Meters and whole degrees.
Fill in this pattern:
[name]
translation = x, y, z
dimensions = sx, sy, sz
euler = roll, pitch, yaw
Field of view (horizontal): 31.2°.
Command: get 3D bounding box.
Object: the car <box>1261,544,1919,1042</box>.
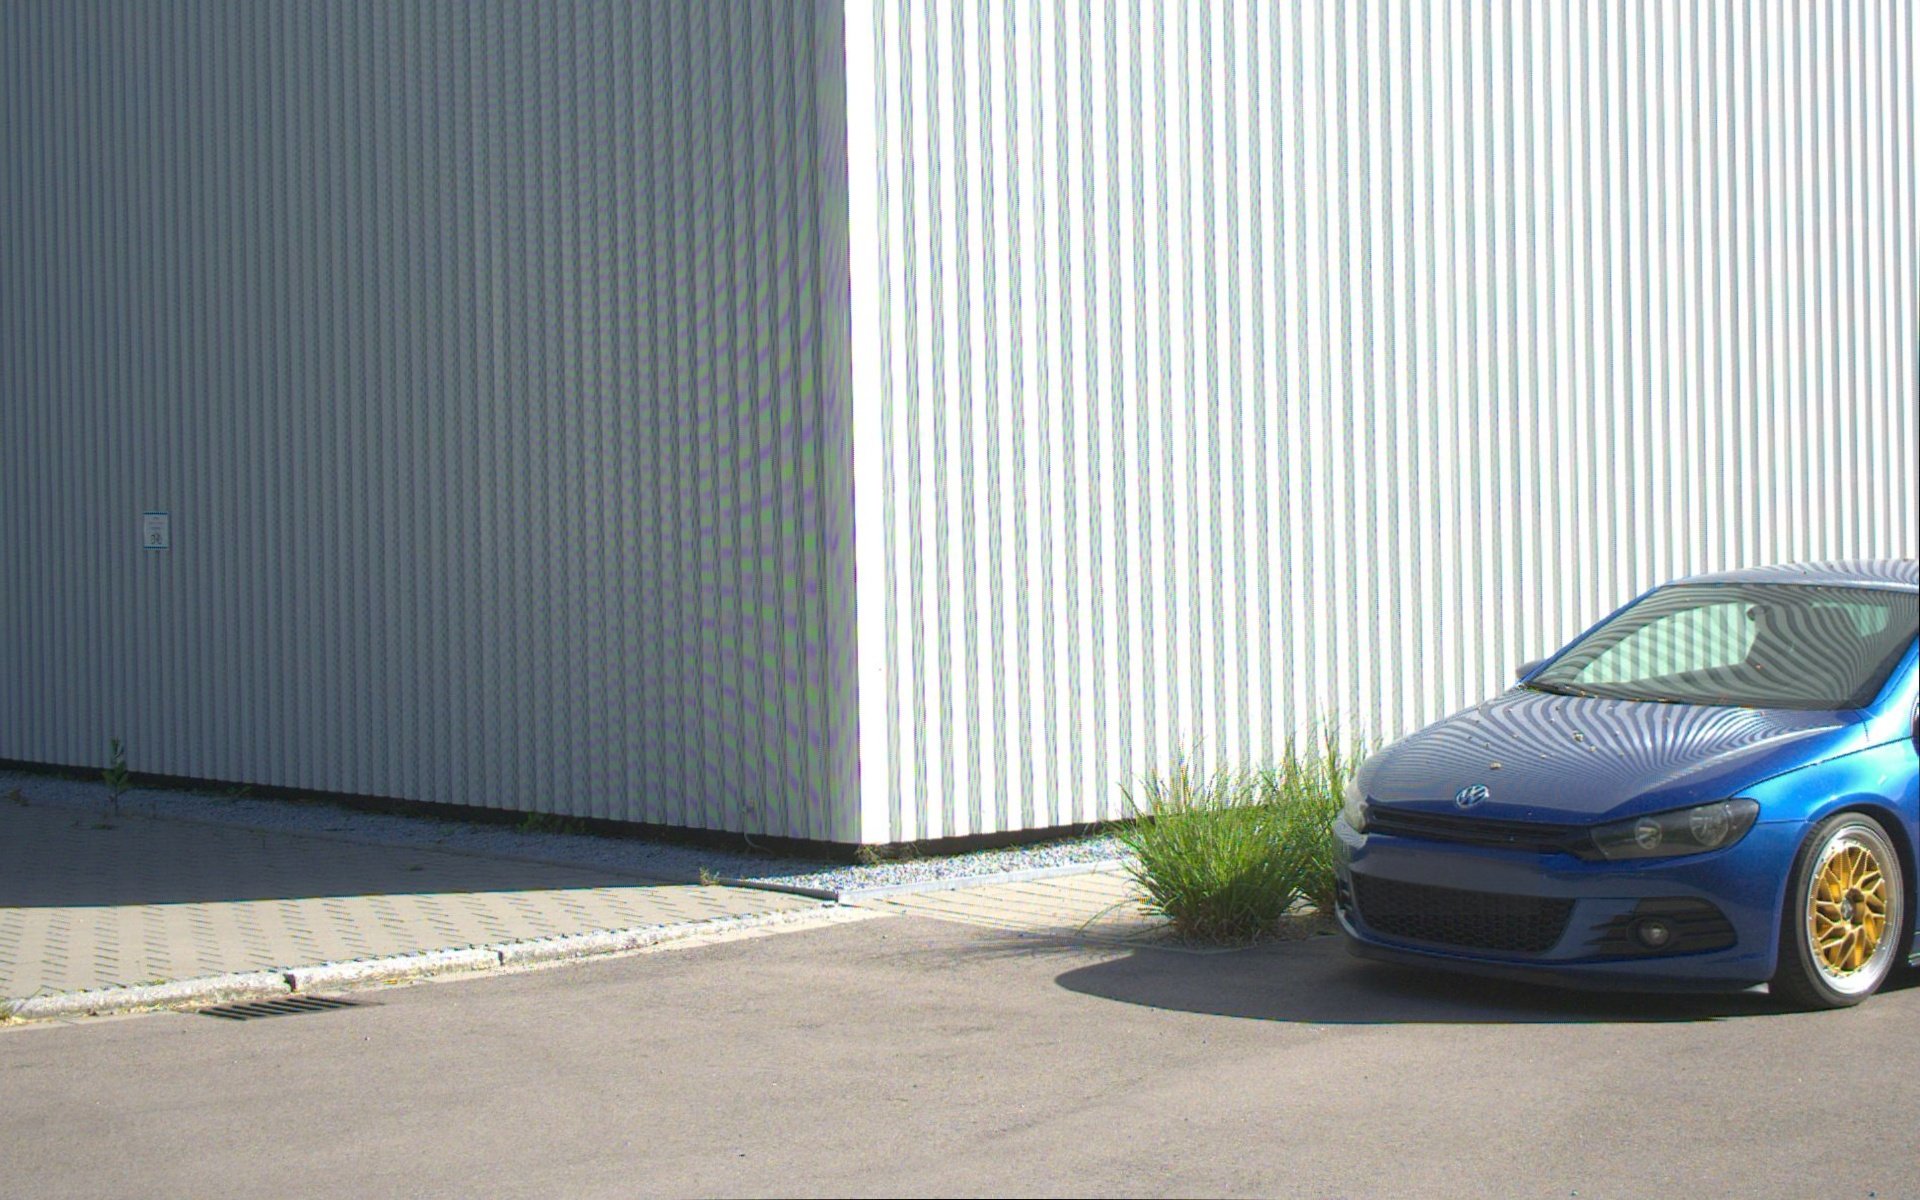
[car]
translation = 3.022, 0.532, 11.947
dimensions = 3.943, 1.345, 1.673
euler = -2, 3, -41
